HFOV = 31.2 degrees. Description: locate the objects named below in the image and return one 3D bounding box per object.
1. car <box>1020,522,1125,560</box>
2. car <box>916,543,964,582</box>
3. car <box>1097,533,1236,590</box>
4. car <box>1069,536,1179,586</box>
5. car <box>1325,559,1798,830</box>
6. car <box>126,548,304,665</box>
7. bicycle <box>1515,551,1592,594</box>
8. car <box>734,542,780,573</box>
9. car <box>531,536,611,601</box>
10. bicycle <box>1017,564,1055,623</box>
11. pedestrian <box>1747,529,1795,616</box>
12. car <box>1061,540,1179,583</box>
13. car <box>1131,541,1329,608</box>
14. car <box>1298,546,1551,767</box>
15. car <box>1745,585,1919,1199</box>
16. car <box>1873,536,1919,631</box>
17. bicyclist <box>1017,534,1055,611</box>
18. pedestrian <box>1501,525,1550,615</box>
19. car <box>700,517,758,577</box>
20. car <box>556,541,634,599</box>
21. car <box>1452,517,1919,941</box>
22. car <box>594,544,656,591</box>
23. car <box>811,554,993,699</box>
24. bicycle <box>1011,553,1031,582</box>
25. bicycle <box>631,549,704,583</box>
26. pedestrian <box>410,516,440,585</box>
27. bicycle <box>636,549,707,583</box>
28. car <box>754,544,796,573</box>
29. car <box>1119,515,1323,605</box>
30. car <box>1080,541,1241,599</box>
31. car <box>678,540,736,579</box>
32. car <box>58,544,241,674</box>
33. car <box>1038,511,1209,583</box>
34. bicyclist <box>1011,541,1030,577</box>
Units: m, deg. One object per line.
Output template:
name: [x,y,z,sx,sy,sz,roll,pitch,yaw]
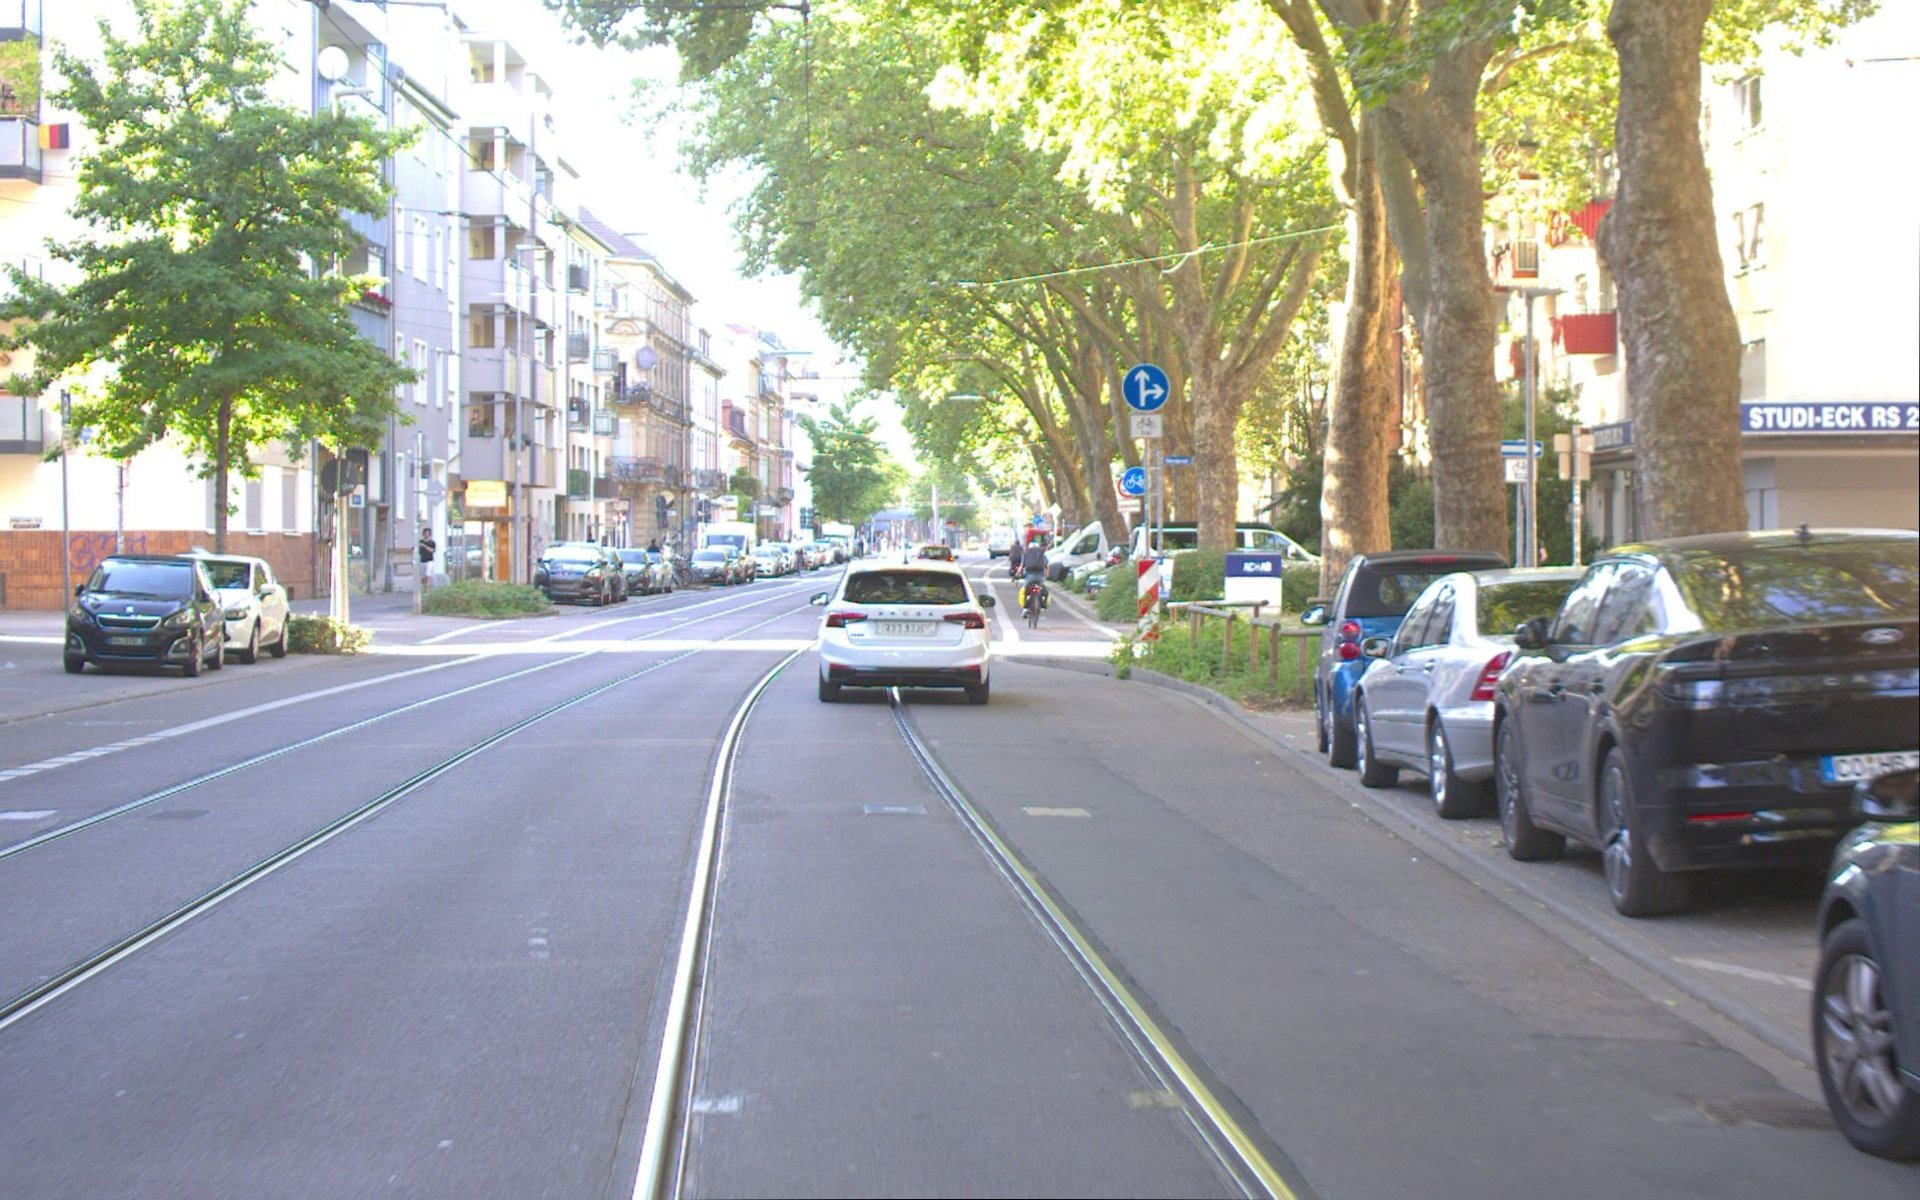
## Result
car: [6.703,-3.517,205.784,6.130,2.274,2.529,0,1,-1]
car: [-0.762,-1.458,132.310,1.761,1.470,4.000,0,1,1]
car: [6.126,-1.138,102.240,3.987,1.674,1.723,0,1,-1]
car: [5.474,-1.316,114.860,3.634,1.661,1.822,0,1,3]
car: [3.524,0.506,21.023,1.816,1.431,4.603,-1,0,-3]
car: [-10.305,0.053,47.807,1.713,1.459,4.377,3,1,-4]
bicycle: [15.090,-0.702,87.415,1.791,1.038,0.618,-2,1,-3]
car: [-9.990,-2.108,169.214,1.993,1.525,4.000,0,1,0]
car: [-10.403,-0.864,92.216,1.702,1.645,4.242,2,1,-1]
bicycle: [1.418,-0.137,64.074,0.681,1.067,1.781,0,1,1]
pedestrian: [15.404,-0.521,65.302,0.746,1.639,0.666,0,1,2]
car: [5.774,-1.391,124.278,4.048,1.535,2.000,0,1,-5]
car: [6.070,-0.578,77.538,4.297,1.474,1.831,0,1,-1]
car: [3.401,0.391,25.562,1.564,1.514,2.910,-1,0,2]
car: [3.128,0.702,7.422,1.864,1.432,4.226,-1,1,0]
car: [17.897,-0.286,58.465,4.130,1.588,2.000,0,1,-5]
bicyclist: [1.414,-0.518,64.152,0.678,1.438,1.047,0,1,1]
pedestrian: [11.839,-0.627,71.968,0.766,1.860,1.189,0,1,-3]
car: [-9.984,-2.300,148.878,2.178,2.588,4.949,0,1,0]
car: [-10.313,-0.875,97.343,1.702,1.539,4.242,2,1,0]
car: [3.566,0.476,15.567,1.857,1.598,4.782,-1,0,-1]
car: [-10.520,-1.044,108.133,1.653,1.432,3.837,0,1,-1]
car: [-0.599,0.235,35.429,1.761,1.379,4.000,0,1,-1]
bicycle: [2.266,-1.206,127.475,0.649,1.067,1.583,0,1,-2]
bicycle: [-10.643,-1.240,125.140,2.525,1.168,0.883,2,-1,-39]
pedestrian: [-14.116,-1.302,90.754,0.663,1.820,0.965,0,1,-1]
bicycle: [-10.577,-1.250,126.021,2.524,1.168,0.719,2,-1,-6]
car: [-9.837,-2.232,183.176,1.993,1.525,4.000,0,1,0]
car: [6.064,-0.943,80.111,4.543,2.069,2.001,0,1,-2]
car: [5.303,-0.800,91.336,4.142,1.509,1.931,0,1,-1]
car: [-10.080,-1.613,137.162,1.993,1.525,4.000,0,1,0]
car: [-10.117,0.078,43.147,1.713,1.459,4.001,3,1,-7]
car: [6.022,-1.974,127.100,6.130,2.626,2.529,0,1,-1]
bicyclist: [2.258,-1.530,127.482,0.649,1.339,0.934,0,1,-2]
